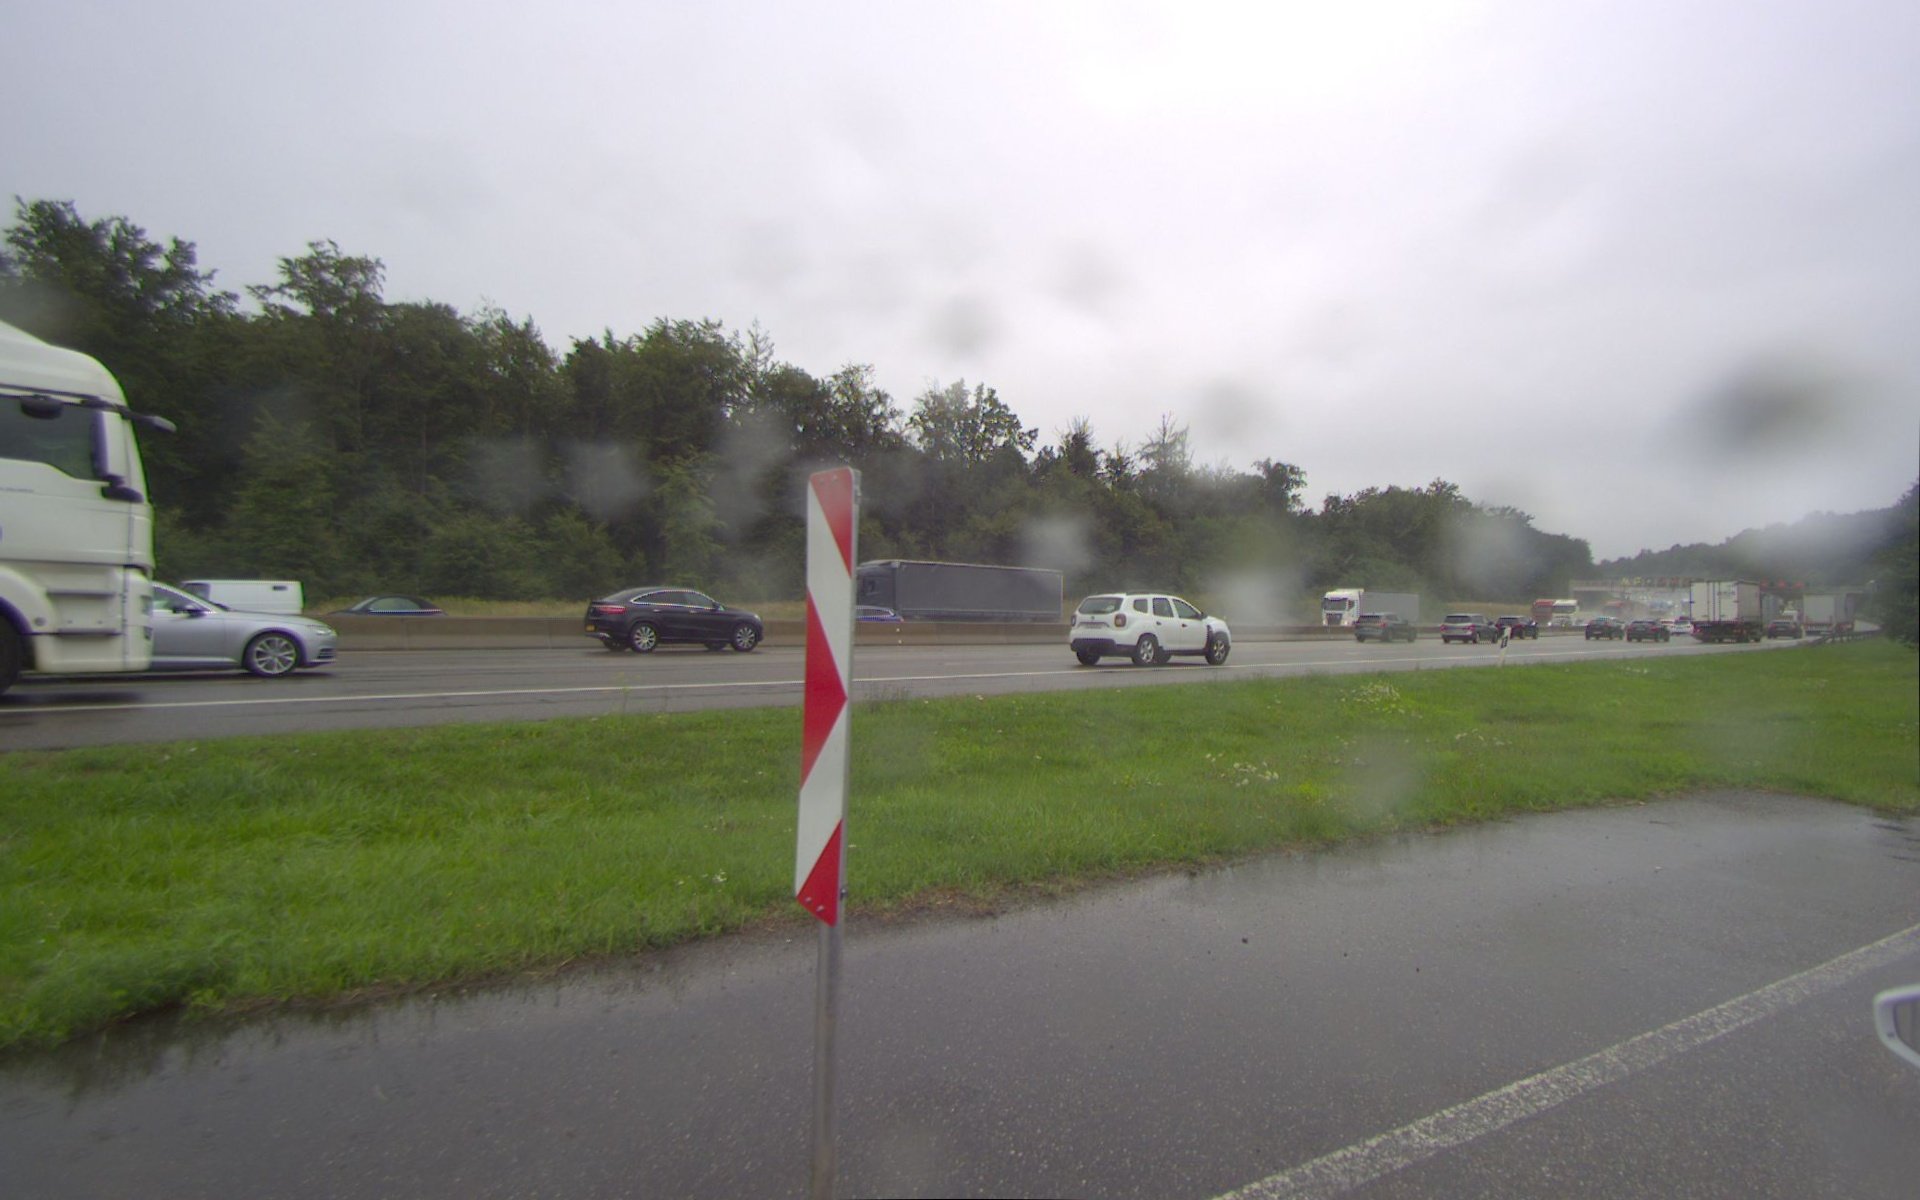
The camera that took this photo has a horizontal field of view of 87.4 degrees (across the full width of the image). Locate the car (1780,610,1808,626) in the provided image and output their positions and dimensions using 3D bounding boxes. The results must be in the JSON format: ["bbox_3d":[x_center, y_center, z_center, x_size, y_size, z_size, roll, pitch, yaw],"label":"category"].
[{"bbox_3d":[105.067,2.302,126.504,3.968,1.840,1.976,1,2,-41],"label":"car"}]

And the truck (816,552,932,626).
[{"bbox_3d":[-4.627,-0.569,54.567,5.604,3.797,3.013,1,2,-43],"label":"truck"}]

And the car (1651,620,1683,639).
[{"bbox_3d":[74.701,3.116,106.164,3.971,2.040,1.975,2,-1,-43],"label":"car"}]

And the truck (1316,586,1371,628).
[{"bbox_3d":[35.341,0.581,92.474,4.725,3.582,2.689,-1,5,-42],"label":"truck"}]

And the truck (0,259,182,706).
[{"bbox_3d":[-10.972,-1.105,9.208,5.888,4.106,2.848,2,-2,-41],"label":"truck"}]

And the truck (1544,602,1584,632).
[{"bbox_3d":[78.228,2.161,130.075,5.946,3.720,2.598,0,4,-42],"label":"truck"}]

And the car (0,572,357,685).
[{"bbox_3d":[-11.063,0.389,13.775,4.546,1.366,1.830,2,-2,-41],"label":"car"}]

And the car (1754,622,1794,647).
[{"bbox_3d":[66.523,2.793,82.039,3.971,1.840,1.975,2,1,-43],"label":"car"}]

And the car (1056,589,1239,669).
[{"bbox_3d":[4.253,0.649,22.422,4.289,1.607,1.771,2,-2,-41],"label":"car"}]

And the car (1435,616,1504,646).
[{"bbox_3d":[27.897,1.699,54.923,4.298,1.547,1.774,2,-1,-39],"label":"car"}]

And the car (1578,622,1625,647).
[{"bbox_3d":[46.099,2.480,72.144,4.069,1.759,1.760,2,-2,-42],"label":"car"}]

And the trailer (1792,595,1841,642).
[{"bbox_3d":[89.037,1.965,104.335,3.509,4.673,12.053,0,-1,42],"label":"trailer"}]

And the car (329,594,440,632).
[{"bbox_3d":[-18.507,0.416,32.346,2.867,1.096,1.425,3,0,-41],"label":"car"}]

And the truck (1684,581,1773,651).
[{"bbox_3d":[51.587,1.207,67.231,11.759,4.349,2.823,2,-2,-43],"label":"truck"}]

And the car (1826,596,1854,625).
[{"bbox_3d":[110.817,1.340,126.505,2.346,3.532,4.788,5,2,43],"label":"car"}]

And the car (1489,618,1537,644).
[{"bbox_3d":[39.629,2.220,71.918,4.069,1.759,1.760,2,-1,-42],"label":"car"}]

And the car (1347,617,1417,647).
[{"bbox_3d":[23.334,1.754,55.488,4.422,1.594,1.704,2,-1,-39],"label":"car"}]

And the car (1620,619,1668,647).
[{"bbox_3d":[44.826,2.172,65.780,3.818,1.759,1.760,2,-1,-42],"label":"car"}]

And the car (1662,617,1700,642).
[{"bbox_3d":[66.681,2.727,92.882,3.971,2.040,1.975,2,2,-43],"label":"car"}]

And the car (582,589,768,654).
[{"bbox_3d":[-7.538,0.603,26.811,4.489,1.596,1.690,2,-2,-41],"label":"car"}]

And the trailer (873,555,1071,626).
[{"bbox_3d":[1.044,-0.481,59.883,13.313,3.863,2.999,1,2,-43],"label":"trailer"}]

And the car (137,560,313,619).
[{"bbox_3d":[-25.993,-0.340,35.614,4.886,1.860,1.976,2,1,-41],"label":"car"}]
